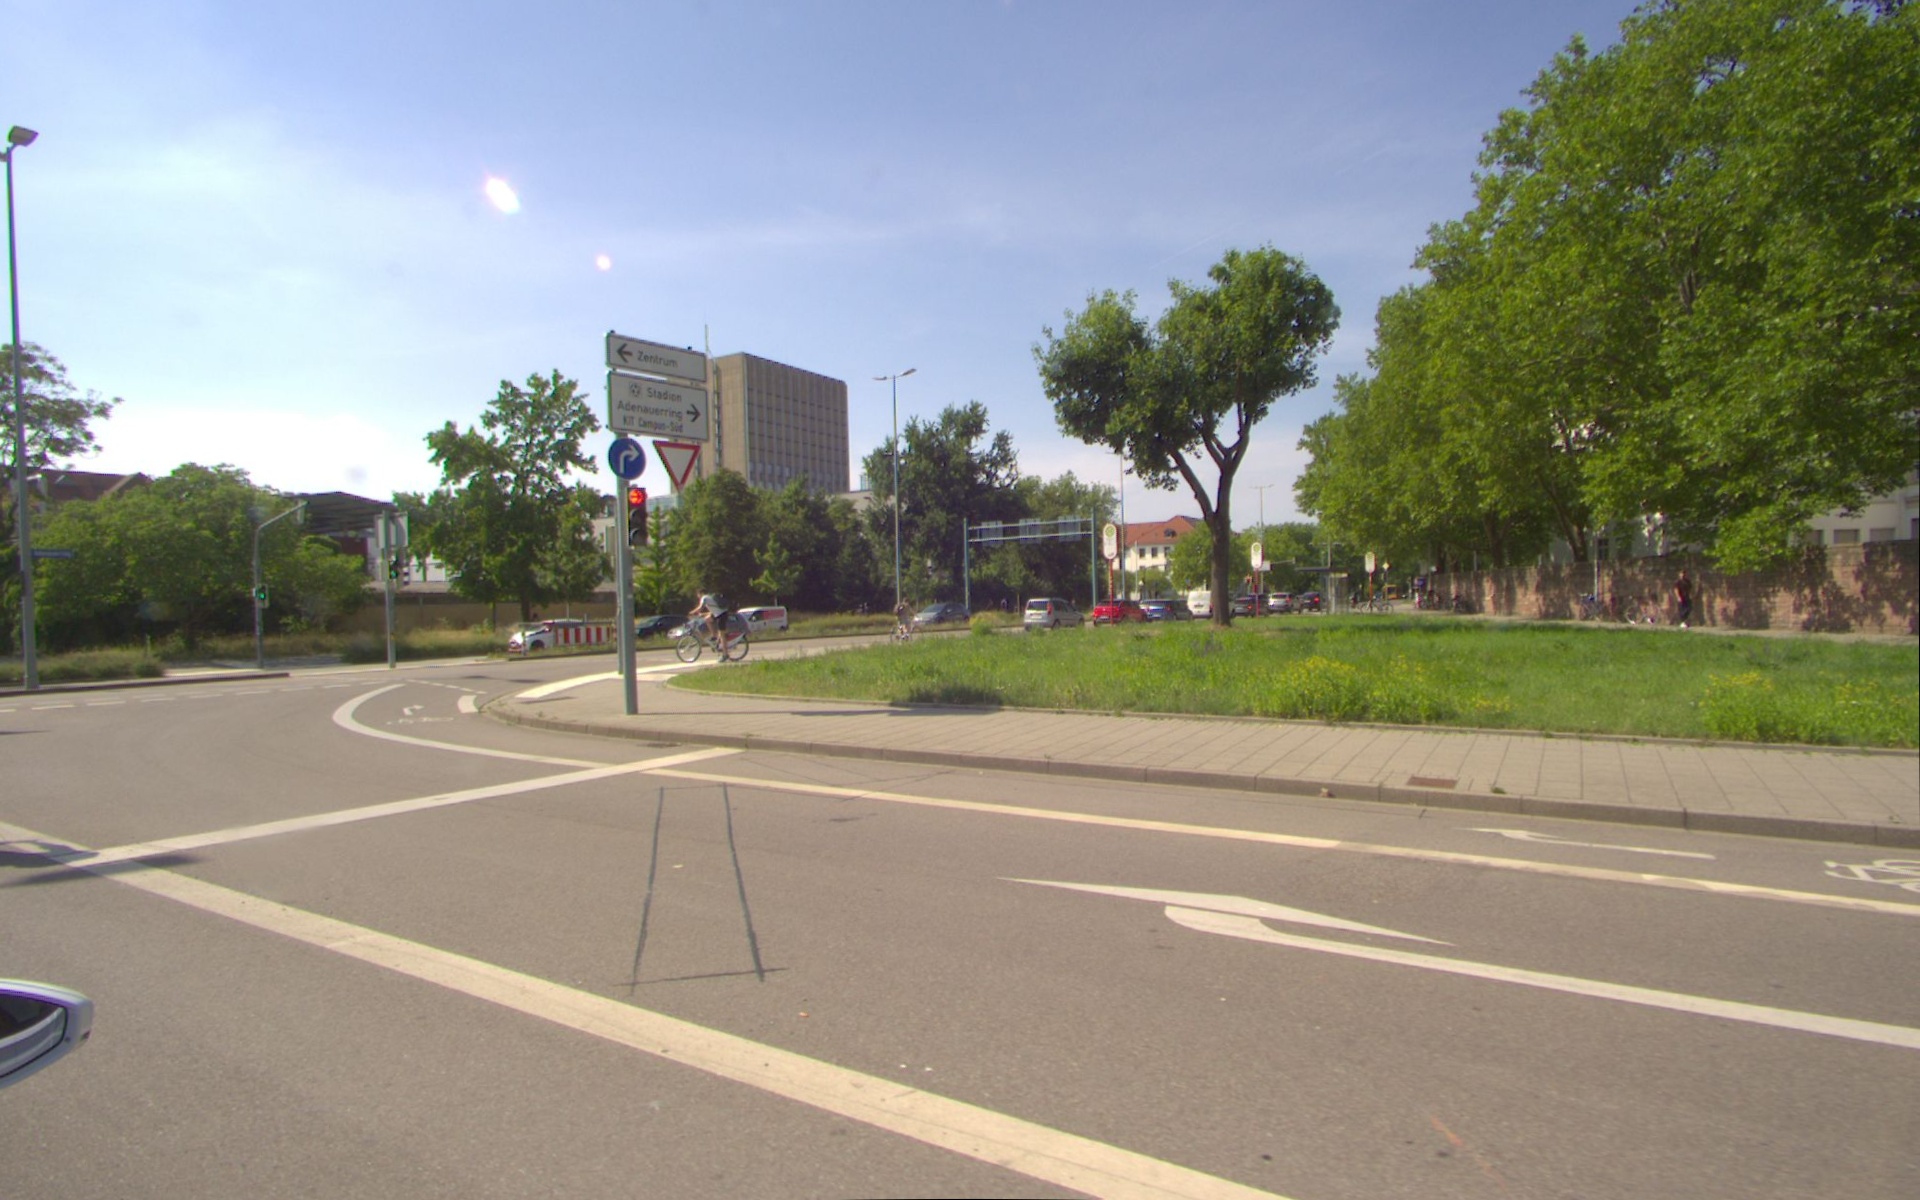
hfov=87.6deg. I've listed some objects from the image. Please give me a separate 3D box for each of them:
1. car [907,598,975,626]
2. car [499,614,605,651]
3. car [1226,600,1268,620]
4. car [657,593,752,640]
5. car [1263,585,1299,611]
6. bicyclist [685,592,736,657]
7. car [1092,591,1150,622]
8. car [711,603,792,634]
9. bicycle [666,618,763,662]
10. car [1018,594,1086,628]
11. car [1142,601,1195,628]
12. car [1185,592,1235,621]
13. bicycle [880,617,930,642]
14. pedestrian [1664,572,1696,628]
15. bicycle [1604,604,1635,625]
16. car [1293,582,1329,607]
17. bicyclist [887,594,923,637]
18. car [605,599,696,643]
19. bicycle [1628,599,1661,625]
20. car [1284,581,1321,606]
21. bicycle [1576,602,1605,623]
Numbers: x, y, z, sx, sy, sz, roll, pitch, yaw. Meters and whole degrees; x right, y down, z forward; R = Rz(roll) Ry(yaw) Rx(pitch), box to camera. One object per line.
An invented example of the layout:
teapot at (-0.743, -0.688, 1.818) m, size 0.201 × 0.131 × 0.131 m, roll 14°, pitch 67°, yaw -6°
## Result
car at (-1.030, 0.665, 56.302) m, size 1.619 × 1.424 × 4.080 m, roll -3°, pitch -1°, yaw 37°
car at (-18.288, 1.442, 45.042) m, size 1.972 × 1.483 × 3.978 m, roll -2°, pitch 0°, yaw 32°
car at (20.738, 0.706, 72.302) m, size 1.729 × 1.357 × 3.973 m, roll -1°, pitch 1°, yaw 36°
car at (-12.169, 0.777, 47.862) m, size 1.976 × 2.039 × 3.971 m, roll -3°, pitch -1°, yaw 37°
car at (25.550, -0.177, 79.654) m, size 1.969 × 2.040 × 3.982 m, roll -1°, pitch 1°, yaw 28°
bicyclist at (-5.791, 0.573, 23.298) m, size 1.121 × 1.489 × 0.496 m, roll -1°, pitch -1°, yaw -12°
car at (8.851, 0.397, 54.826) m, size 1.727 × 1.527 × 3.981 m, roll -1°, pitch -3°, yaw 32°
car at (-11.391, 0.985, 54.967) m, size 1.883 × 1.590 × 4.301 m, roll -1°, pitch 1°, yaw 32°
bicycle at (-5.706, 0.924, 23.357) m, size 2.128 × 0.928 × 0.674 m, roll -2°, pitch 1°, yaw -11°
car at (4.595, 0.531, 49.317) m, size 1.727 × 1.528 × 3.978 m, roll -1°, pitch 1°, yaw 32°
car at (12.706, 0.873, 60.870) m, size 1.729 × 1.493 × 3.973 m, roll -1°, pitch 1°, yaw 36°
car at (16.571, 0.434, 66.243) m, size 1.729 × 1.781 × 4.403 m, roll -1°, pitch 1°, yaw 36°
bicycle at (-1.936, 1.031, 35.525) m, size 0.554 × 0.803 × 1.878 m, roll 1°, pitch 2°, yaw 44°
pedestrian at (23.232, -0.006, 32.306) m, size 0.608 × 1.763 × 0.599 m, roll -1°, pitch 1°, yaw 3°
bicycle at (23.891, 0.509, 36.273) m, size 0.334 × 0.738 × 1.364 m, roll -1°, pitch 1°, yaw 5°
car at (30.335, -0.491, 86.550) m, size 1.973 × 2.040 × 3.976 m, roll -1°, pitch 1°, yaw 34°
bicyclist at (-1.944, 0.550, 35.526) m, size 0.558 × 1.494 × 1.158 m, roll 0°, pitch 1°, yaw 44°
car at (-15.390, 1.032, 49.967) m, size 1.973 × 2.041 × 3.975 m, roll -1°, pitch 1°, yaw 34°
bicycle at (23.755, 0.421, 34.758) m, size 0.365 × 0.867 × 1.307 m, roll -1°, pitch 1°, yaw 7°
car at (28.734, -0.578, 84.030) m, size 1.973 × 2.040 × 3.976 m, roll -1°, pitch 1°, yaw 34°
bicycle at (23.916, 0.461, 37.992) m, size 0.334 × 0.738 × 1.364 m, roll -1°, pitch 1°, yaw 5°
